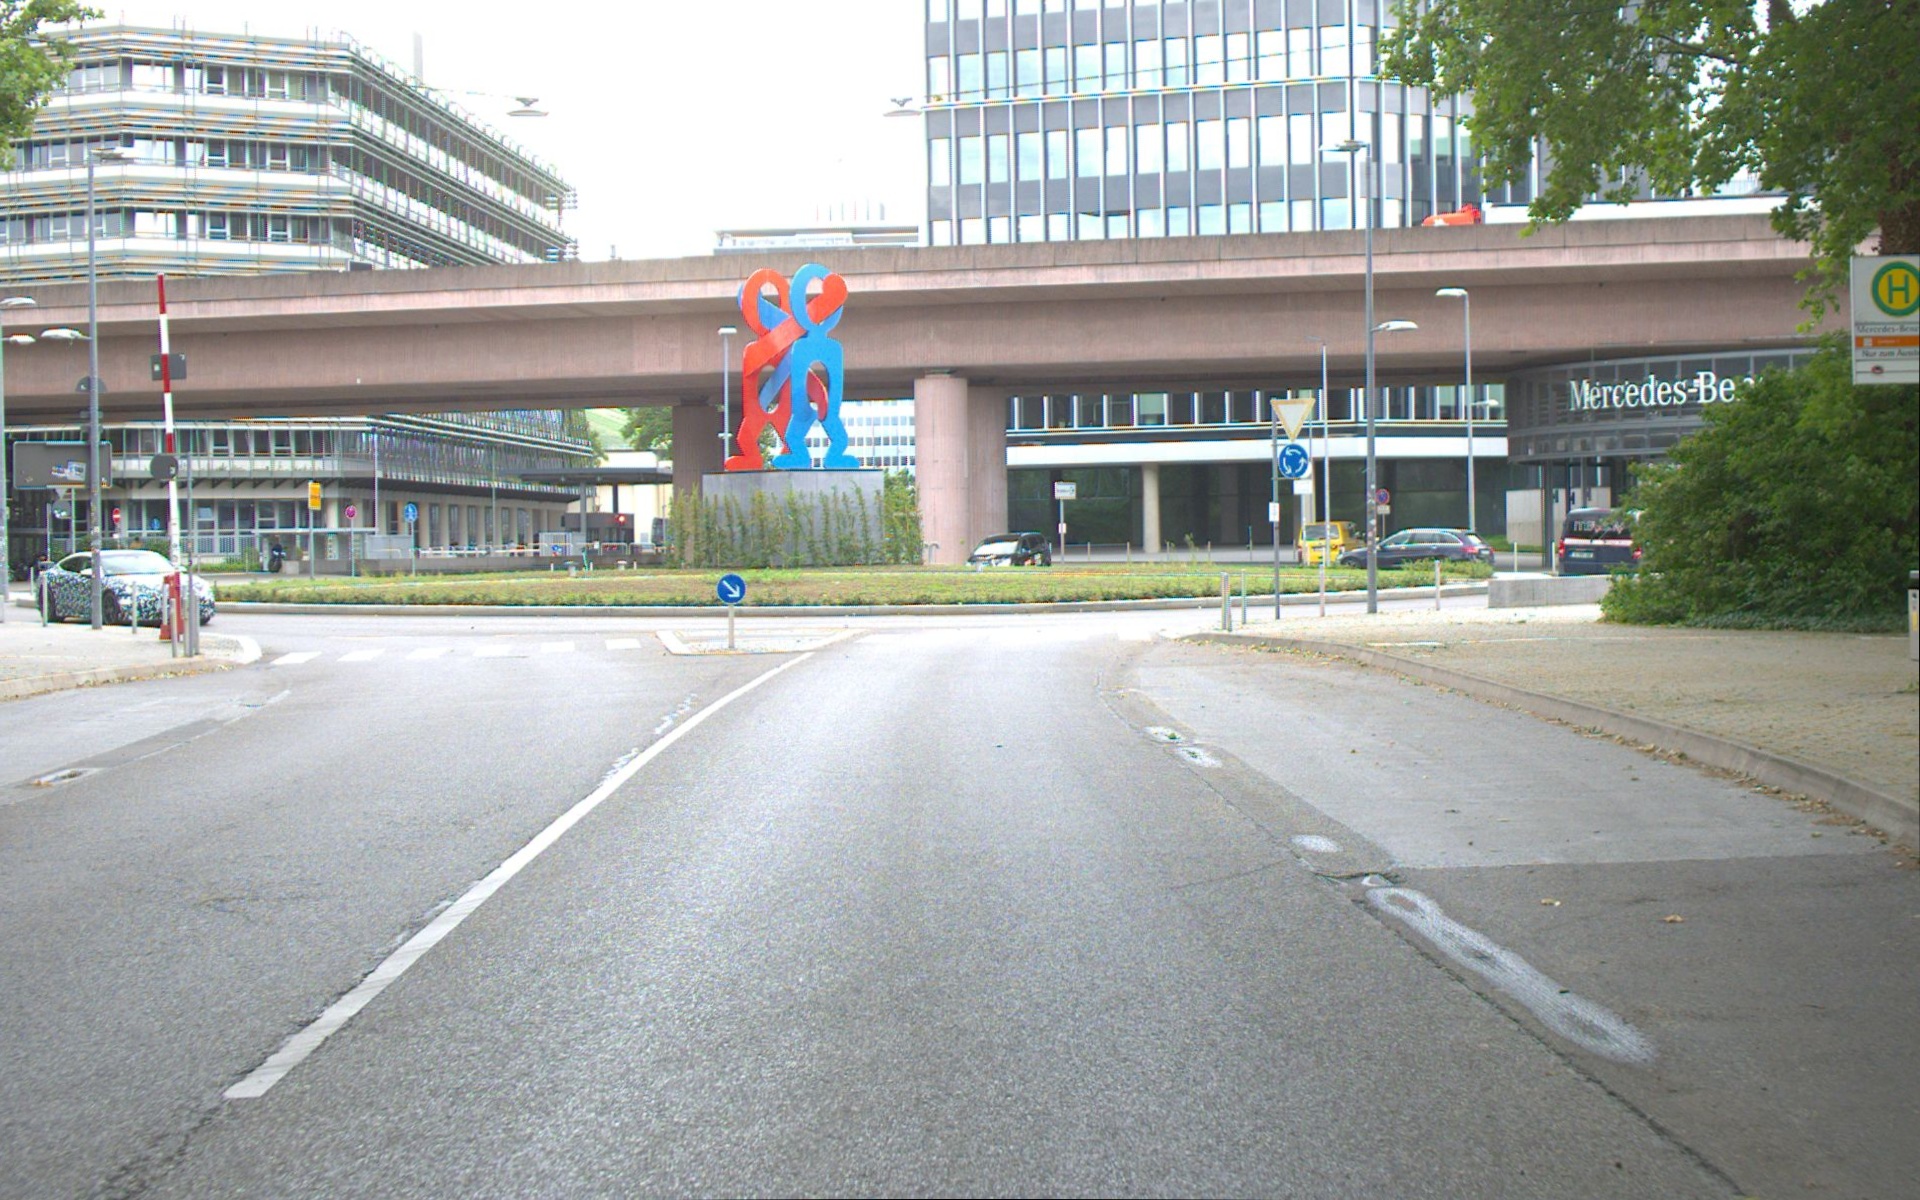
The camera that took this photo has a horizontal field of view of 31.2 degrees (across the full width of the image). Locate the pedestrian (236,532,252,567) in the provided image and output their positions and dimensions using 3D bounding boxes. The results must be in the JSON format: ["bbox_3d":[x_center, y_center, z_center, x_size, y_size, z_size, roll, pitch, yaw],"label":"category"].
[{"bbox_3d":[-40.520,-2.854,194.601,0.776,2.007,0.671,0,1,-1],"label":"pedestrian"}]

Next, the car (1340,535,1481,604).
[{"bbox_3d":[12.780,-0.870,97.464,3.724,1.919,1.920,0,1,17],"label":"car"}]

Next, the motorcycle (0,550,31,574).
[{"bbox_3d":[-44.328,-1.773,158.822,2.655,1.108,1.038,0,1,20],"label":"motorcycle"}]

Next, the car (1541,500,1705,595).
[{"bbox_3d":[14.605,-1.149,75.522,2.279,2.007,4.776,0,1,27],"label":"car"}]

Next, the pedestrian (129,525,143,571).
[{"bbox_3d":[-35.948,-2.273,149.933,0.588,2.007,0.599,0,1,-12],"label":"pedestrian"}]

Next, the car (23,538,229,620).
[{"bbox_3d":[-16.104,-0.400,66.242,1.901,1.448,4.813,-3,2,-39],"label":"car"}]

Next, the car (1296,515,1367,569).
[{"bbox_3d":[14.064,-2.203,129.952,1.995,2.007,3.997,0,1,16],"label":"car"}]

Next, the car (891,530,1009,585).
[{"bbox_3d":[-0.303,-1.387,112.822,1.997,1.766,3.992,1,1,33],"label":"car"}]
